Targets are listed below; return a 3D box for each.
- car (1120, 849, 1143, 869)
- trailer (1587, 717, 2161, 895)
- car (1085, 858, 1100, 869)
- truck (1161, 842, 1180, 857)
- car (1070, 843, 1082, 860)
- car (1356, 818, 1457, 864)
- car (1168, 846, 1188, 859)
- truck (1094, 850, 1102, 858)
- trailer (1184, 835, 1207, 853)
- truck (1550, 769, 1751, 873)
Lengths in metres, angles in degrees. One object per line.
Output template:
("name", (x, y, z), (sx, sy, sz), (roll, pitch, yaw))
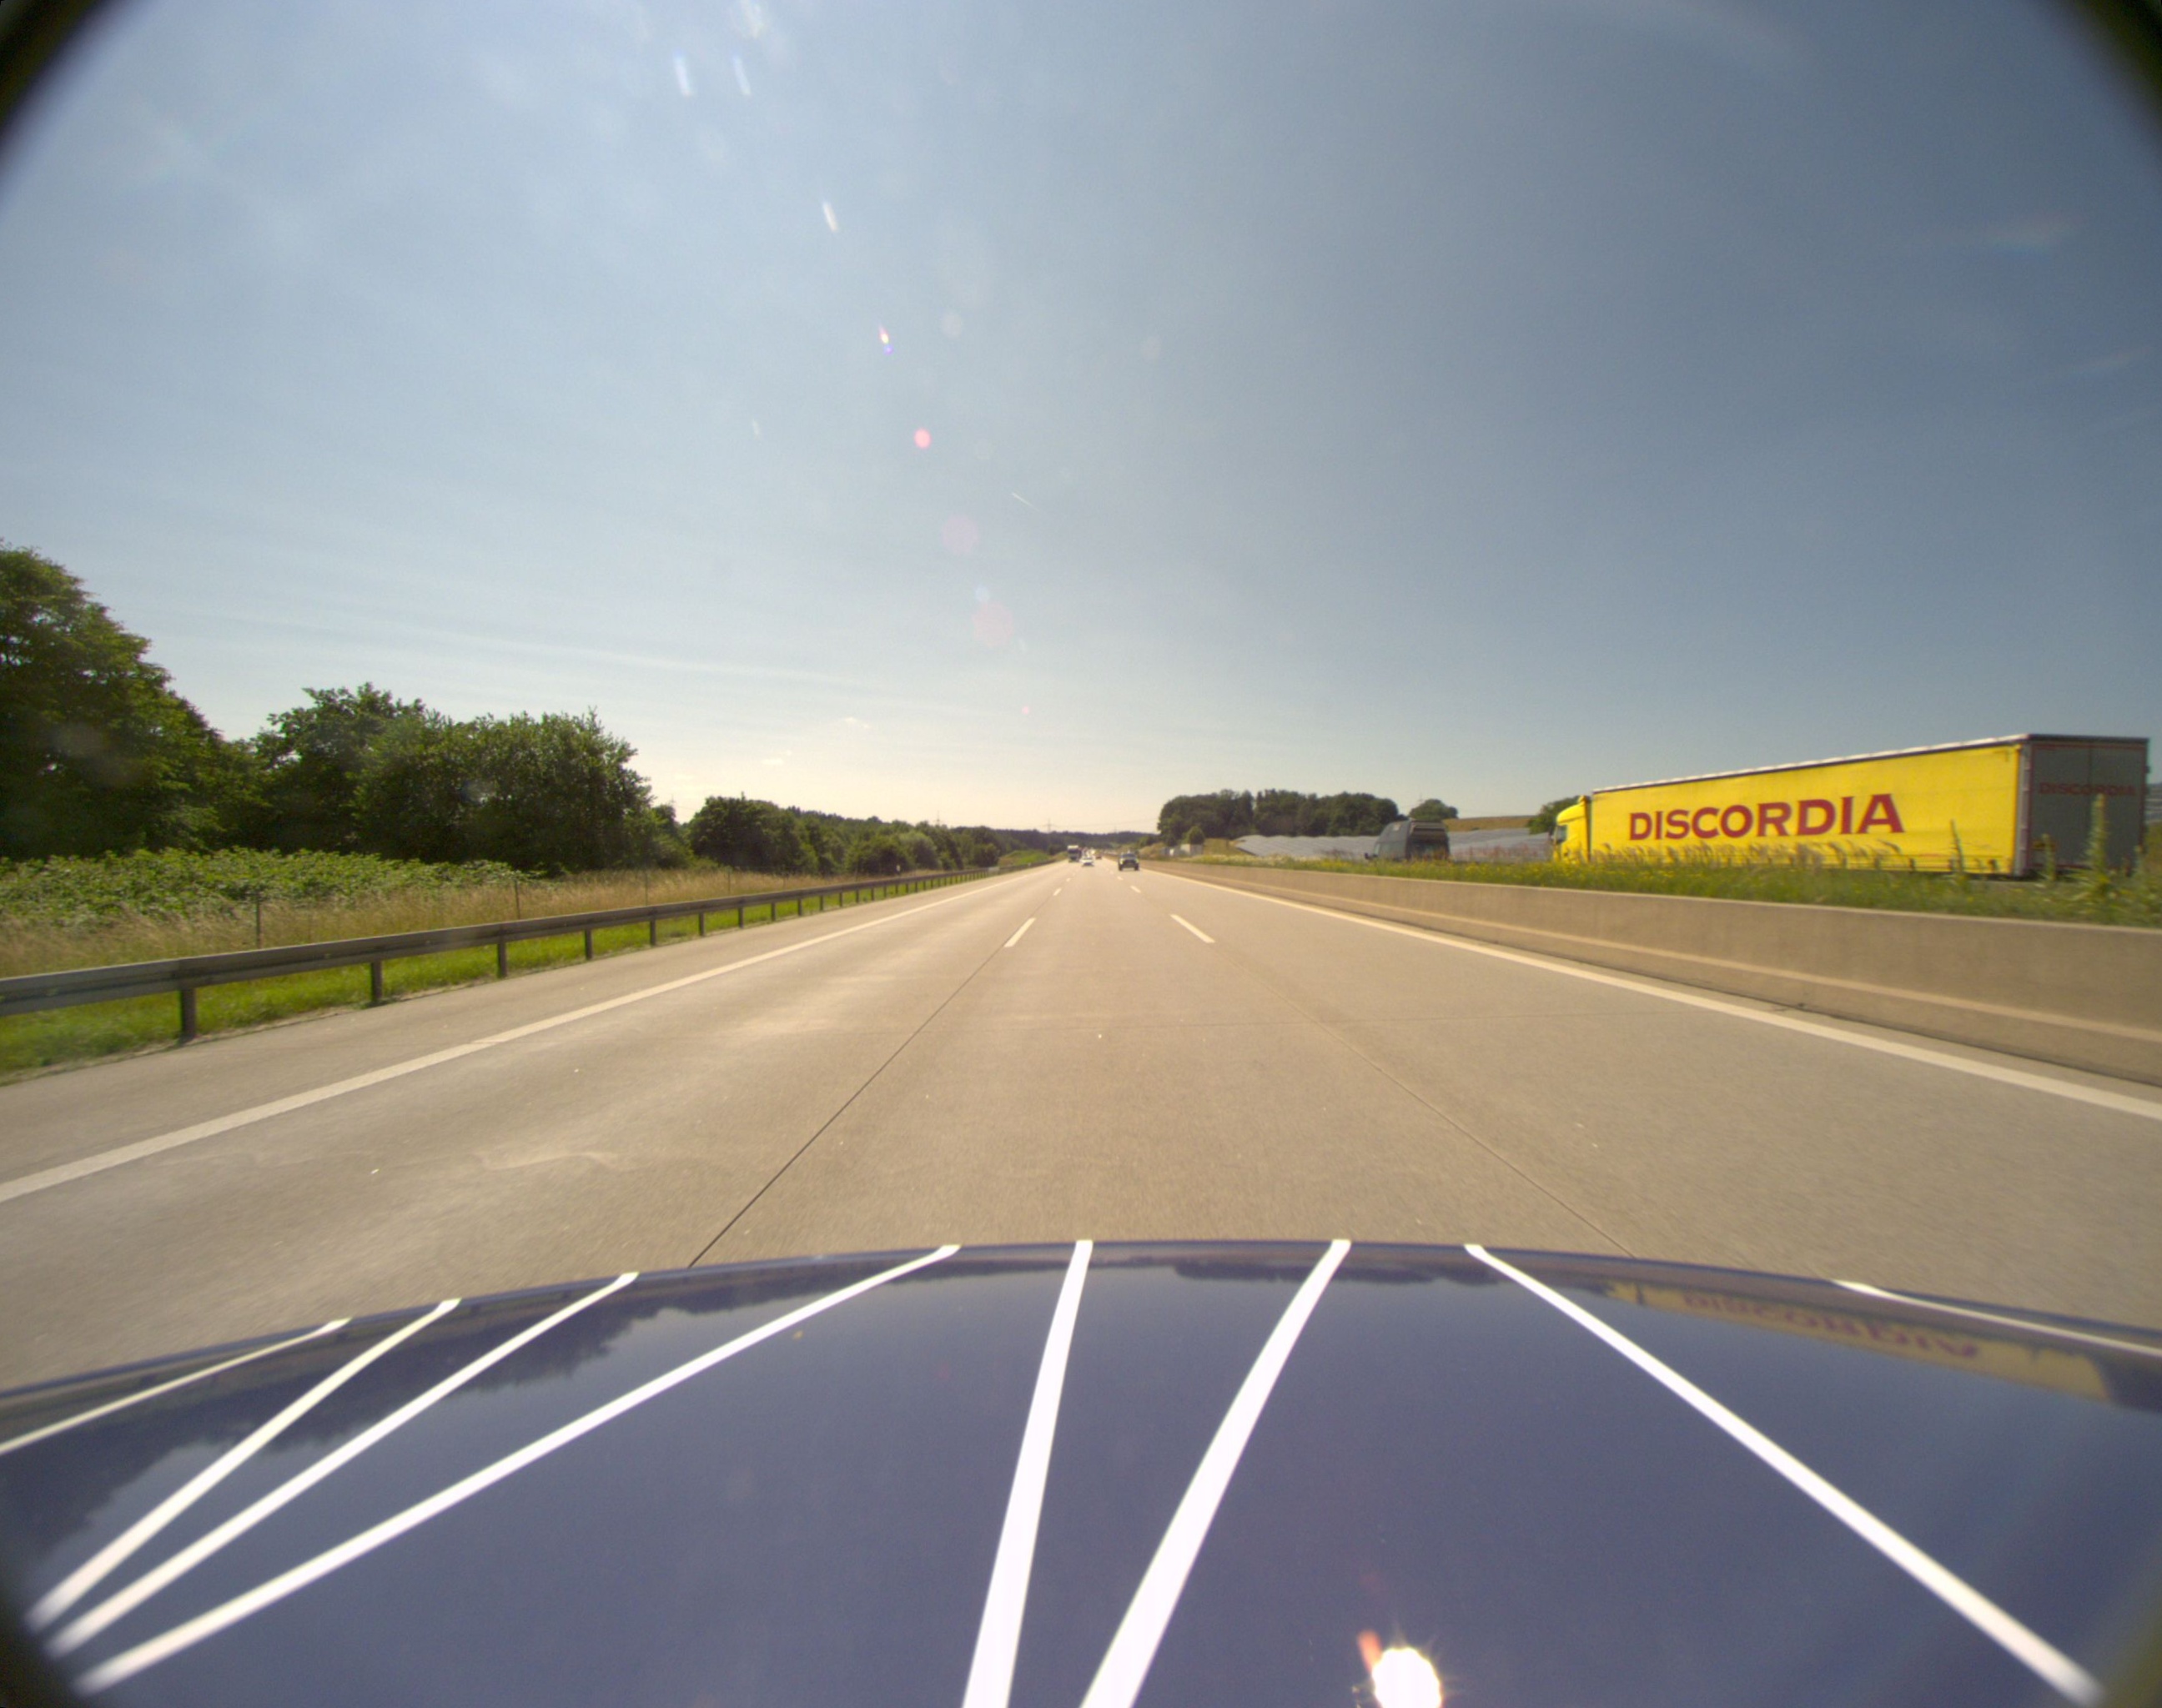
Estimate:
("car", (5.096, 0.450, 77.902), (1.998, 1.835, 6.529), (-3, 0, 1))
("trailer", (21.293, -1.063, 22.727), (2.939, 3.530, 14.018), (3, 1, 1))
("car", (1.673, 1.356, 112.652), (2.065, 1.472, 5.068), (-2, 0, 0))
("truck", (19.307, -0.913, 164.103), (2.832, 3.046, 10.374), (-2, 1, 1))
("car", (-1.144, -0.615, 187.451), (2.766, 4.029, 10.852), (-1, 0, 1))
("car", (13.704, -0.544, 32.377), (1.998, 1.718, 5.389), (-2, 1, 1))
("car", (15.707, -0.287, 123.392), (2.189, 2.002, 6.347), (-2, 1, 0))
("truck", (5.270, 0.007, 235.972), (2.262, 2.461, 6.614), (-2, 0, 1))
("trailer", (23.636, -2.123, 157.852), (3.082, 3.504, 11.762), (-2, 1, 1))
("truck", (21.284, -1.145, 28.967), (2.930, 3.519, 6.347), (0, 1, 1))
